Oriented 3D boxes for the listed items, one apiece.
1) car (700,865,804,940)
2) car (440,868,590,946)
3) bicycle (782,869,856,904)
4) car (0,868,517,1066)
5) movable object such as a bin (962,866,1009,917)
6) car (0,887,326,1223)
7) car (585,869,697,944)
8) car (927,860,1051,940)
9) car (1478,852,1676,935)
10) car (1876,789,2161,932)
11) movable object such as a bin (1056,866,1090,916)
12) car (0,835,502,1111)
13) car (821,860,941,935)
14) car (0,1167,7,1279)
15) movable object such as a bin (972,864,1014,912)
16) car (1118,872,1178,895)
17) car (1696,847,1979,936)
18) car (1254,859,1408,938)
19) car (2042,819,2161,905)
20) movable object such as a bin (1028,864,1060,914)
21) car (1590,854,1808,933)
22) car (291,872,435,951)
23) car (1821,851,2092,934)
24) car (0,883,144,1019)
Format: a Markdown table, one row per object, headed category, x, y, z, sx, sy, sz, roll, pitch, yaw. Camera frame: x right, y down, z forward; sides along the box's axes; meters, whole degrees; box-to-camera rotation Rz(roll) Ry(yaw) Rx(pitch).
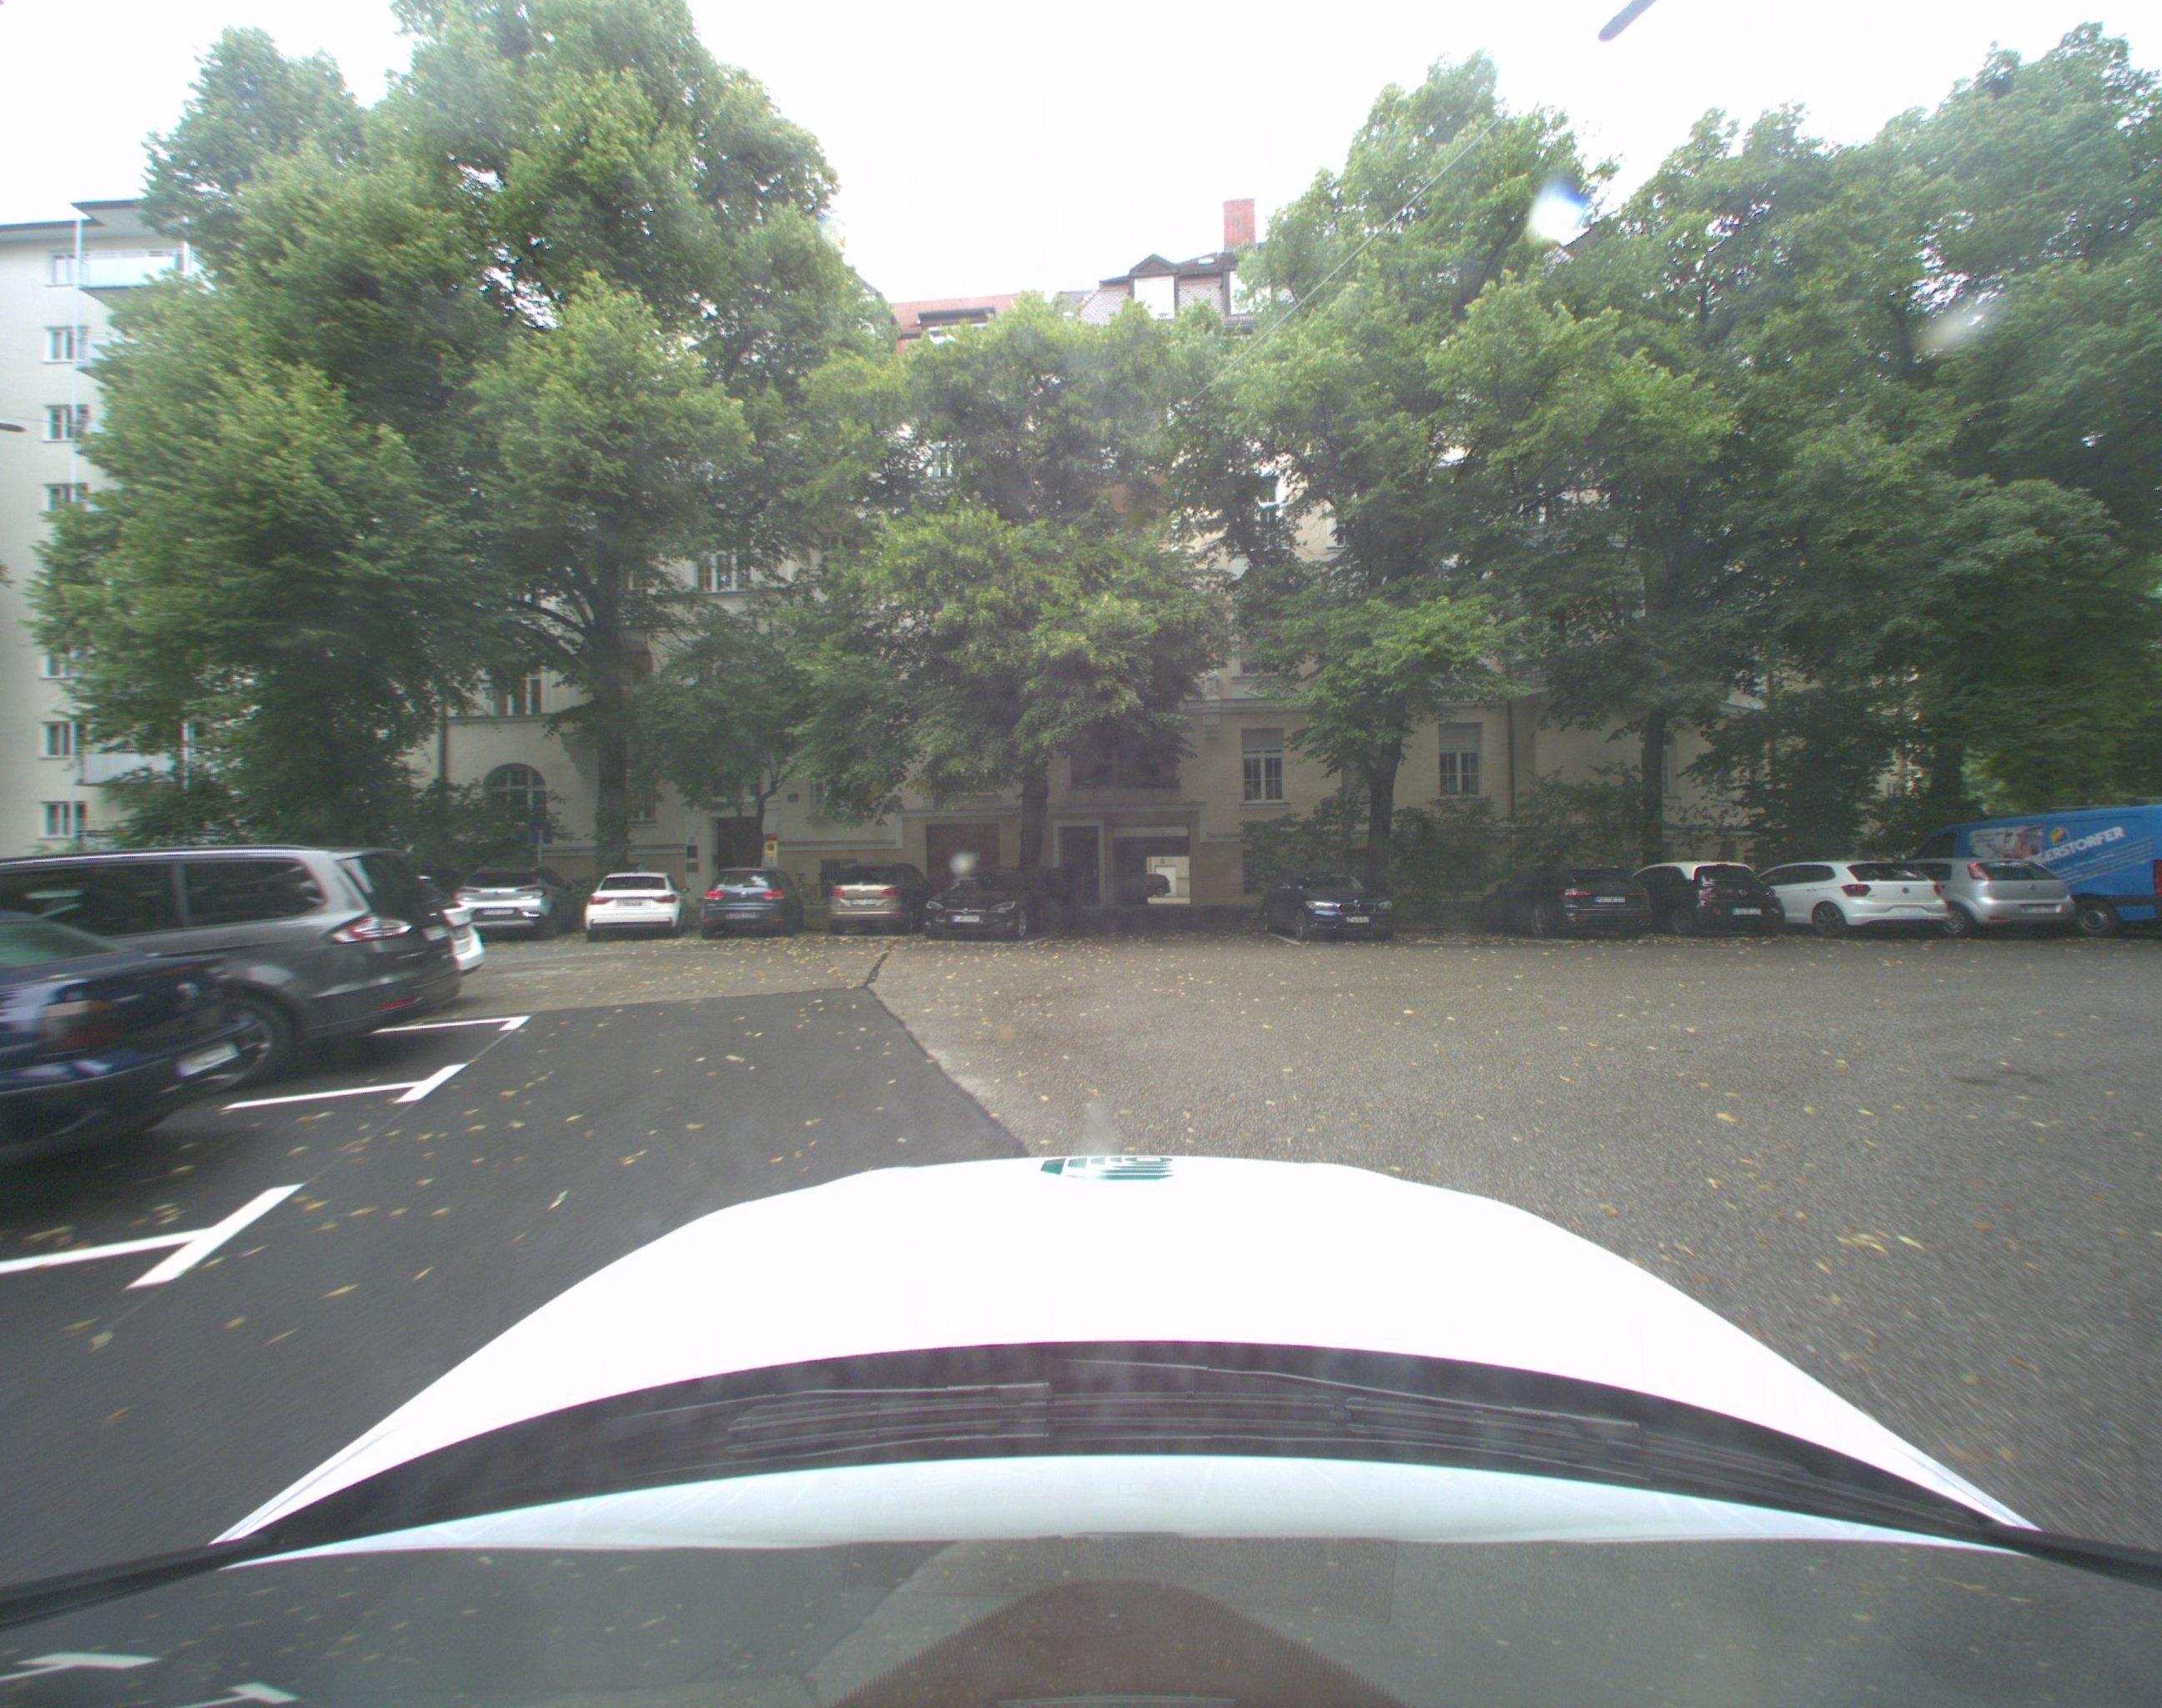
| category | x | y | z | sx | sy | sz | roll | pitch | yaw |
| --- | --- | --- | --- | --- | --- | --- | --- | --- | --- |
| car | -7.210 | 0.985 | 18.179 | 1.796 | 1.431 | 3.976 | 0 | -1 | -17 |
| car | -12.460 | 1.081 | 18.224 | 1.876 | 1.510 | 3.971 | 0 | -1 | -22 |
| bicycle | -8.558 | 1.067 | 26.604 | 2.219 | 1.115 | 0.577 | 0 | -1 | 4 |
| car | -8.460 | 1.015 | 8.423 | 4.008 | 1.479 | 1.820 | -4 | 0 | -26 |
| movable object such as a bin | -2.647 | 1.020 | 22.670 | 1.145 | 1.348 | 1.157 | 0 | 0 | 1 |
| car | -6.401 | 0.985 | 3.610 | 4.079 | 1.367 | 1.703 | -3 | 1 | -25 |
| car | -9.645 | 1.061 | 18.139 | 1.725 | 1.431 | 3.971 | 0 | -1 | -22 |
| car | -1.808 | 0.947 | 17.373 | 1.695 | 1.467 | 4.295 | 0 | -3 | 6 |
| car | 9.740 | 0.810 | 16.437 | 1.847 | 1.426 | 4.171 | -1 | -3 | 8 |
| car | 19.053 | 0.223 | 15.865 | 2.049 | 2.355 | 5.503 | -1 | -3 | 6 |
| movable object such as a bin | -0.205 | 0.999 | 22.375 | 0.859 | 1.305 | 1.433 | 1 | 0 | 2 |
| car | -7.205 | 0.812 | 6.179 | 4.242 | 1.684 | 1.886 | -3 | 1 | -26 |
| car | -4.445 | 0.915 | 18.717 | 1.834 | 1.530 | 4.022 | -1 | -1 | -2 |
| car | -5.472 | 0.906 | 1.240 | 4.249 | 1.455 | 1.707 | -4 | 1 | -25 |
| movable object such as a bin | -2.562 | 0.989 | 23.940 | 1.113 | 1.348 | 0.864 | 0 | 0 | 1 |
| car | 4.413 | 1.958 | 54.328 | 3.834 | 1.518 | 1.655 | 0 | -1 | -2 |
| car | 14.699 | 0.810 | 16.246 | 1.789 | 1.514 | 4.289 | -1 | -4 | 4 |
| car | 4.958 | 0.861 | 16.810 | 1.833 | 1.383 | 4.341 | -1 | -2 | 0 |
| car | 29.069 | 0.193 | 21.648 | 1.924 | 2.236 | 4.223 | -1 | 0 | -6 |
| movable object such as a bin | -1.025 | 0.959 | 22.790 | 0.709 | 1.348 | 1.374 | -1 | -1 | 3 |
| car | 12.398 | 0.858 | 16.688 | 1.818 | 1.426 | 3.754 | -1 | -4 | 6 |
| car | -14.931 | 1.107 | 17.156 | 2.073 | 1.401 | 3.954 | 0 | -1 | -39 |
| car | 16.709 | 0.727 | 15.839 | 1.630 | 1.433 | 3.559 | -1 | -2 | 6 |
| car | -14.210 | 1.217 | 10.055 | 3.317 | 1.631 | 1.491 | 0 | -1 | -44 |
